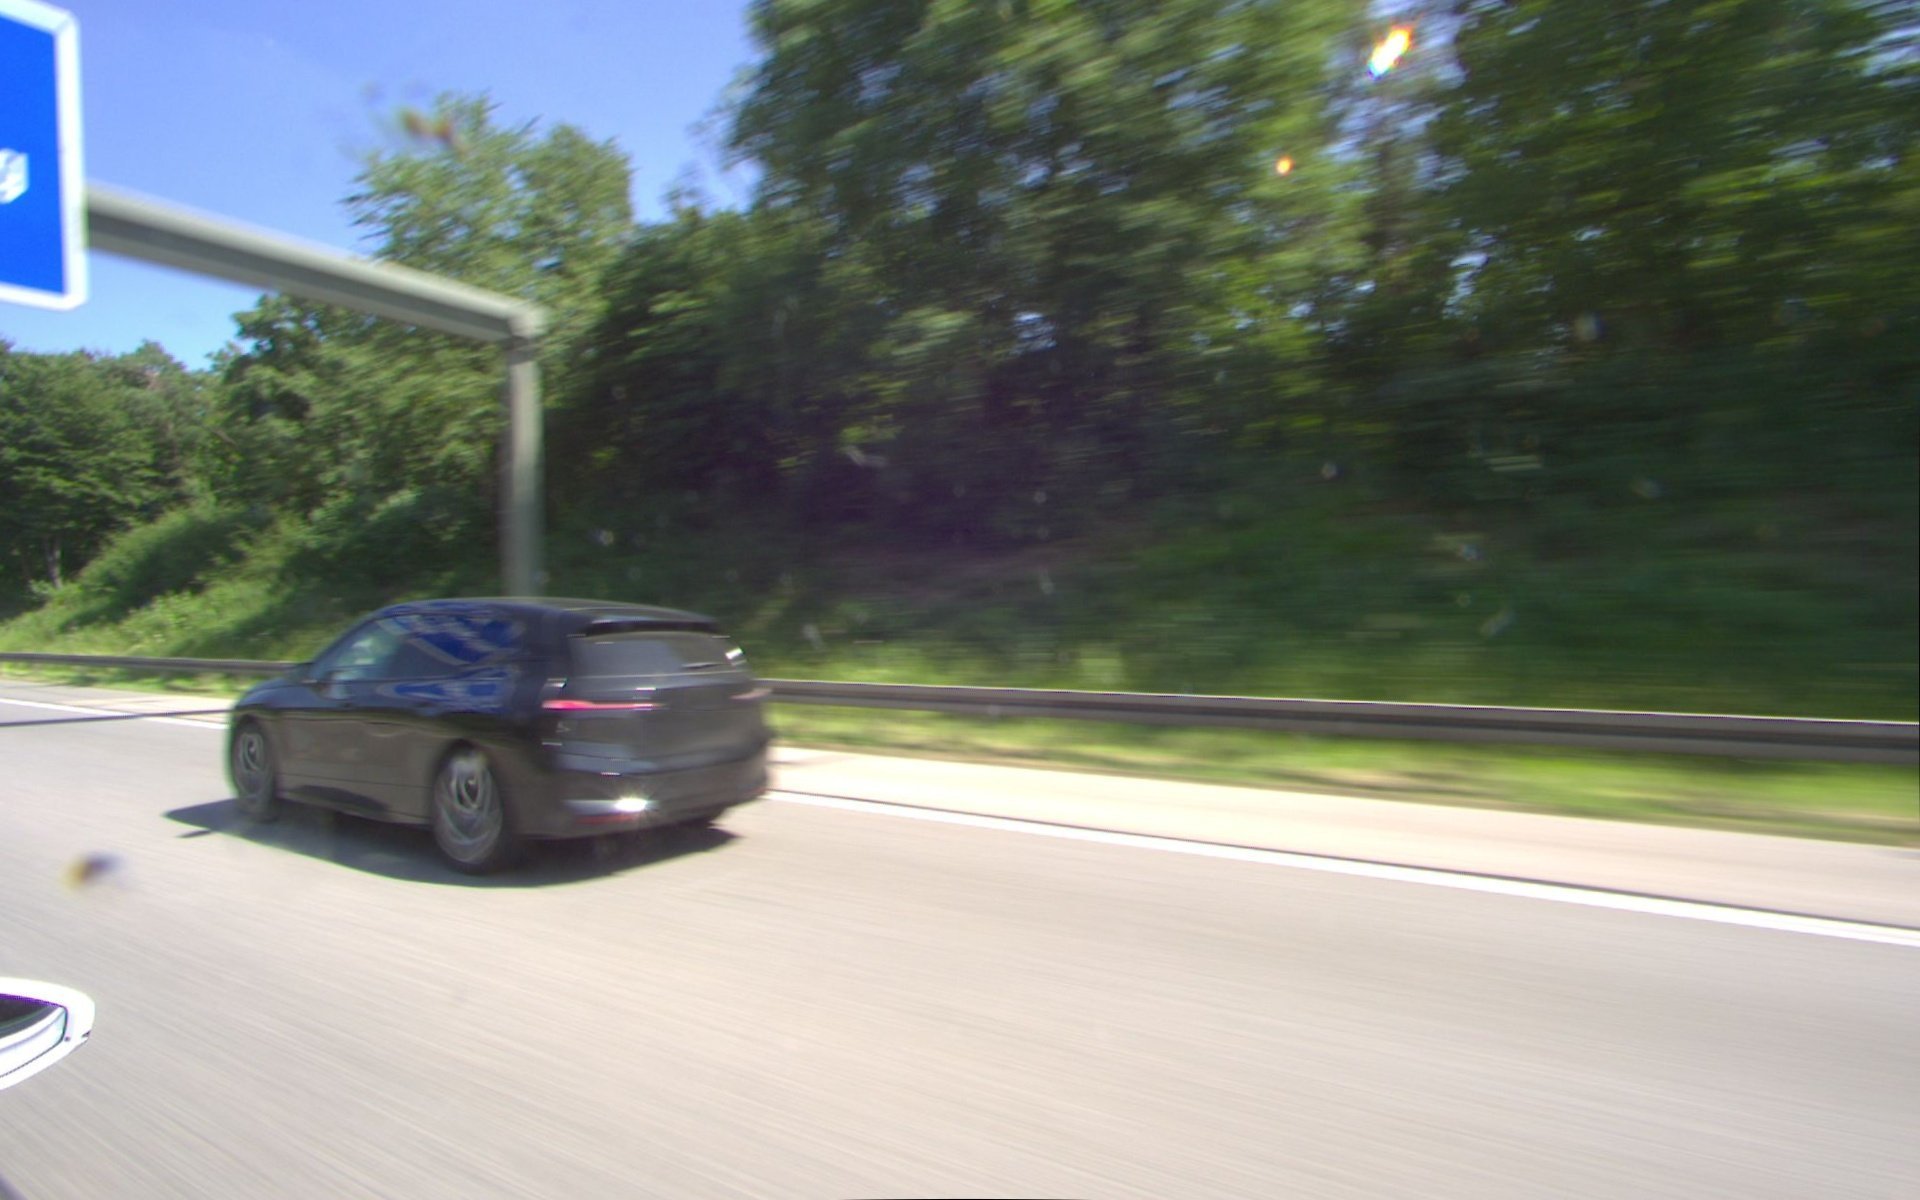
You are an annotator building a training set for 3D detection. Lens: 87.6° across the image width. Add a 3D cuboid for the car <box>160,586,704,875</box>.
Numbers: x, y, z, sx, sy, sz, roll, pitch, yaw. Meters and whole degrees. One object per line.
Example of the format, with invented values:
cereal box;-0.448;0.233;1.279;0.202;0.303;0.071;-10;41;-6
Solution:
car;-4.348;0.825;7.985;4.622;1.690;1.915;-1;-2;34
